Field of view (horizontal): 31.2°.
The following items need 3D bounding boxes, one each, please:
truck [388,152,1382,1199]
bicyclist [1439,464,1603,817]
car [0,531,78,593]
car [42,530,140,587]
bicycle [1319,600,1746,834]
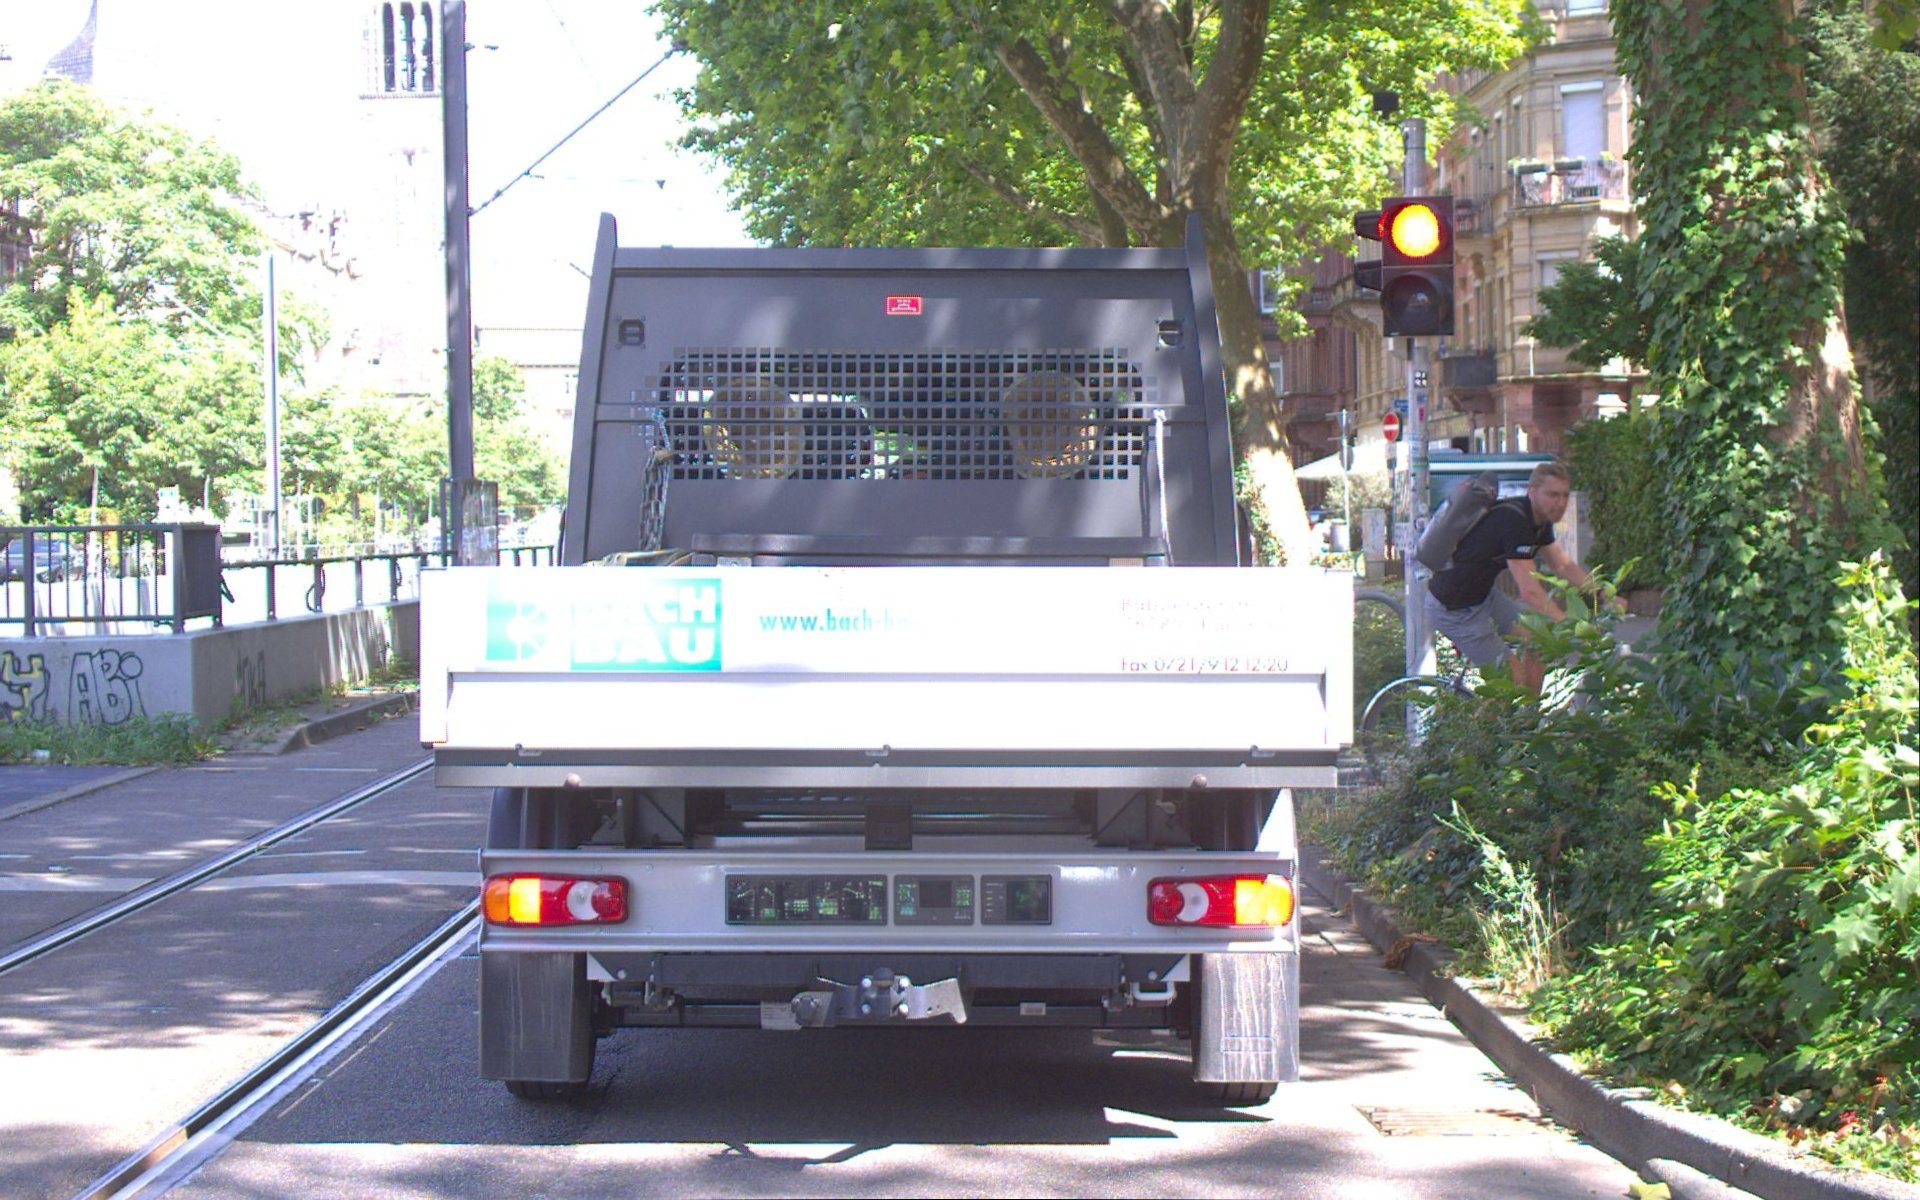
[{"bbox_3d":[-0.159,0.143,9.736,2.138,2.311,4.402,1,1,0],"label":"truck"},{"bbox_3d":[2.624,0.181,16.118,0.692,1.617,0.624,-1,1,4],"label":"bicyclist"},{"bbox_3d":[-23.530,-0.972,86.479,1.770,1.493,4.001,-1,1,-2],"label":"car"},{"bbox_3d":[-23.799,-1.151,94.314,1.770,1.493,4.001,-1,1,-2],"label":"car"},{"bbox_3d":[2.666,0.542,16.125,1.920,1.045,0.532,-1,1,4],"label":"bicycle"}]
